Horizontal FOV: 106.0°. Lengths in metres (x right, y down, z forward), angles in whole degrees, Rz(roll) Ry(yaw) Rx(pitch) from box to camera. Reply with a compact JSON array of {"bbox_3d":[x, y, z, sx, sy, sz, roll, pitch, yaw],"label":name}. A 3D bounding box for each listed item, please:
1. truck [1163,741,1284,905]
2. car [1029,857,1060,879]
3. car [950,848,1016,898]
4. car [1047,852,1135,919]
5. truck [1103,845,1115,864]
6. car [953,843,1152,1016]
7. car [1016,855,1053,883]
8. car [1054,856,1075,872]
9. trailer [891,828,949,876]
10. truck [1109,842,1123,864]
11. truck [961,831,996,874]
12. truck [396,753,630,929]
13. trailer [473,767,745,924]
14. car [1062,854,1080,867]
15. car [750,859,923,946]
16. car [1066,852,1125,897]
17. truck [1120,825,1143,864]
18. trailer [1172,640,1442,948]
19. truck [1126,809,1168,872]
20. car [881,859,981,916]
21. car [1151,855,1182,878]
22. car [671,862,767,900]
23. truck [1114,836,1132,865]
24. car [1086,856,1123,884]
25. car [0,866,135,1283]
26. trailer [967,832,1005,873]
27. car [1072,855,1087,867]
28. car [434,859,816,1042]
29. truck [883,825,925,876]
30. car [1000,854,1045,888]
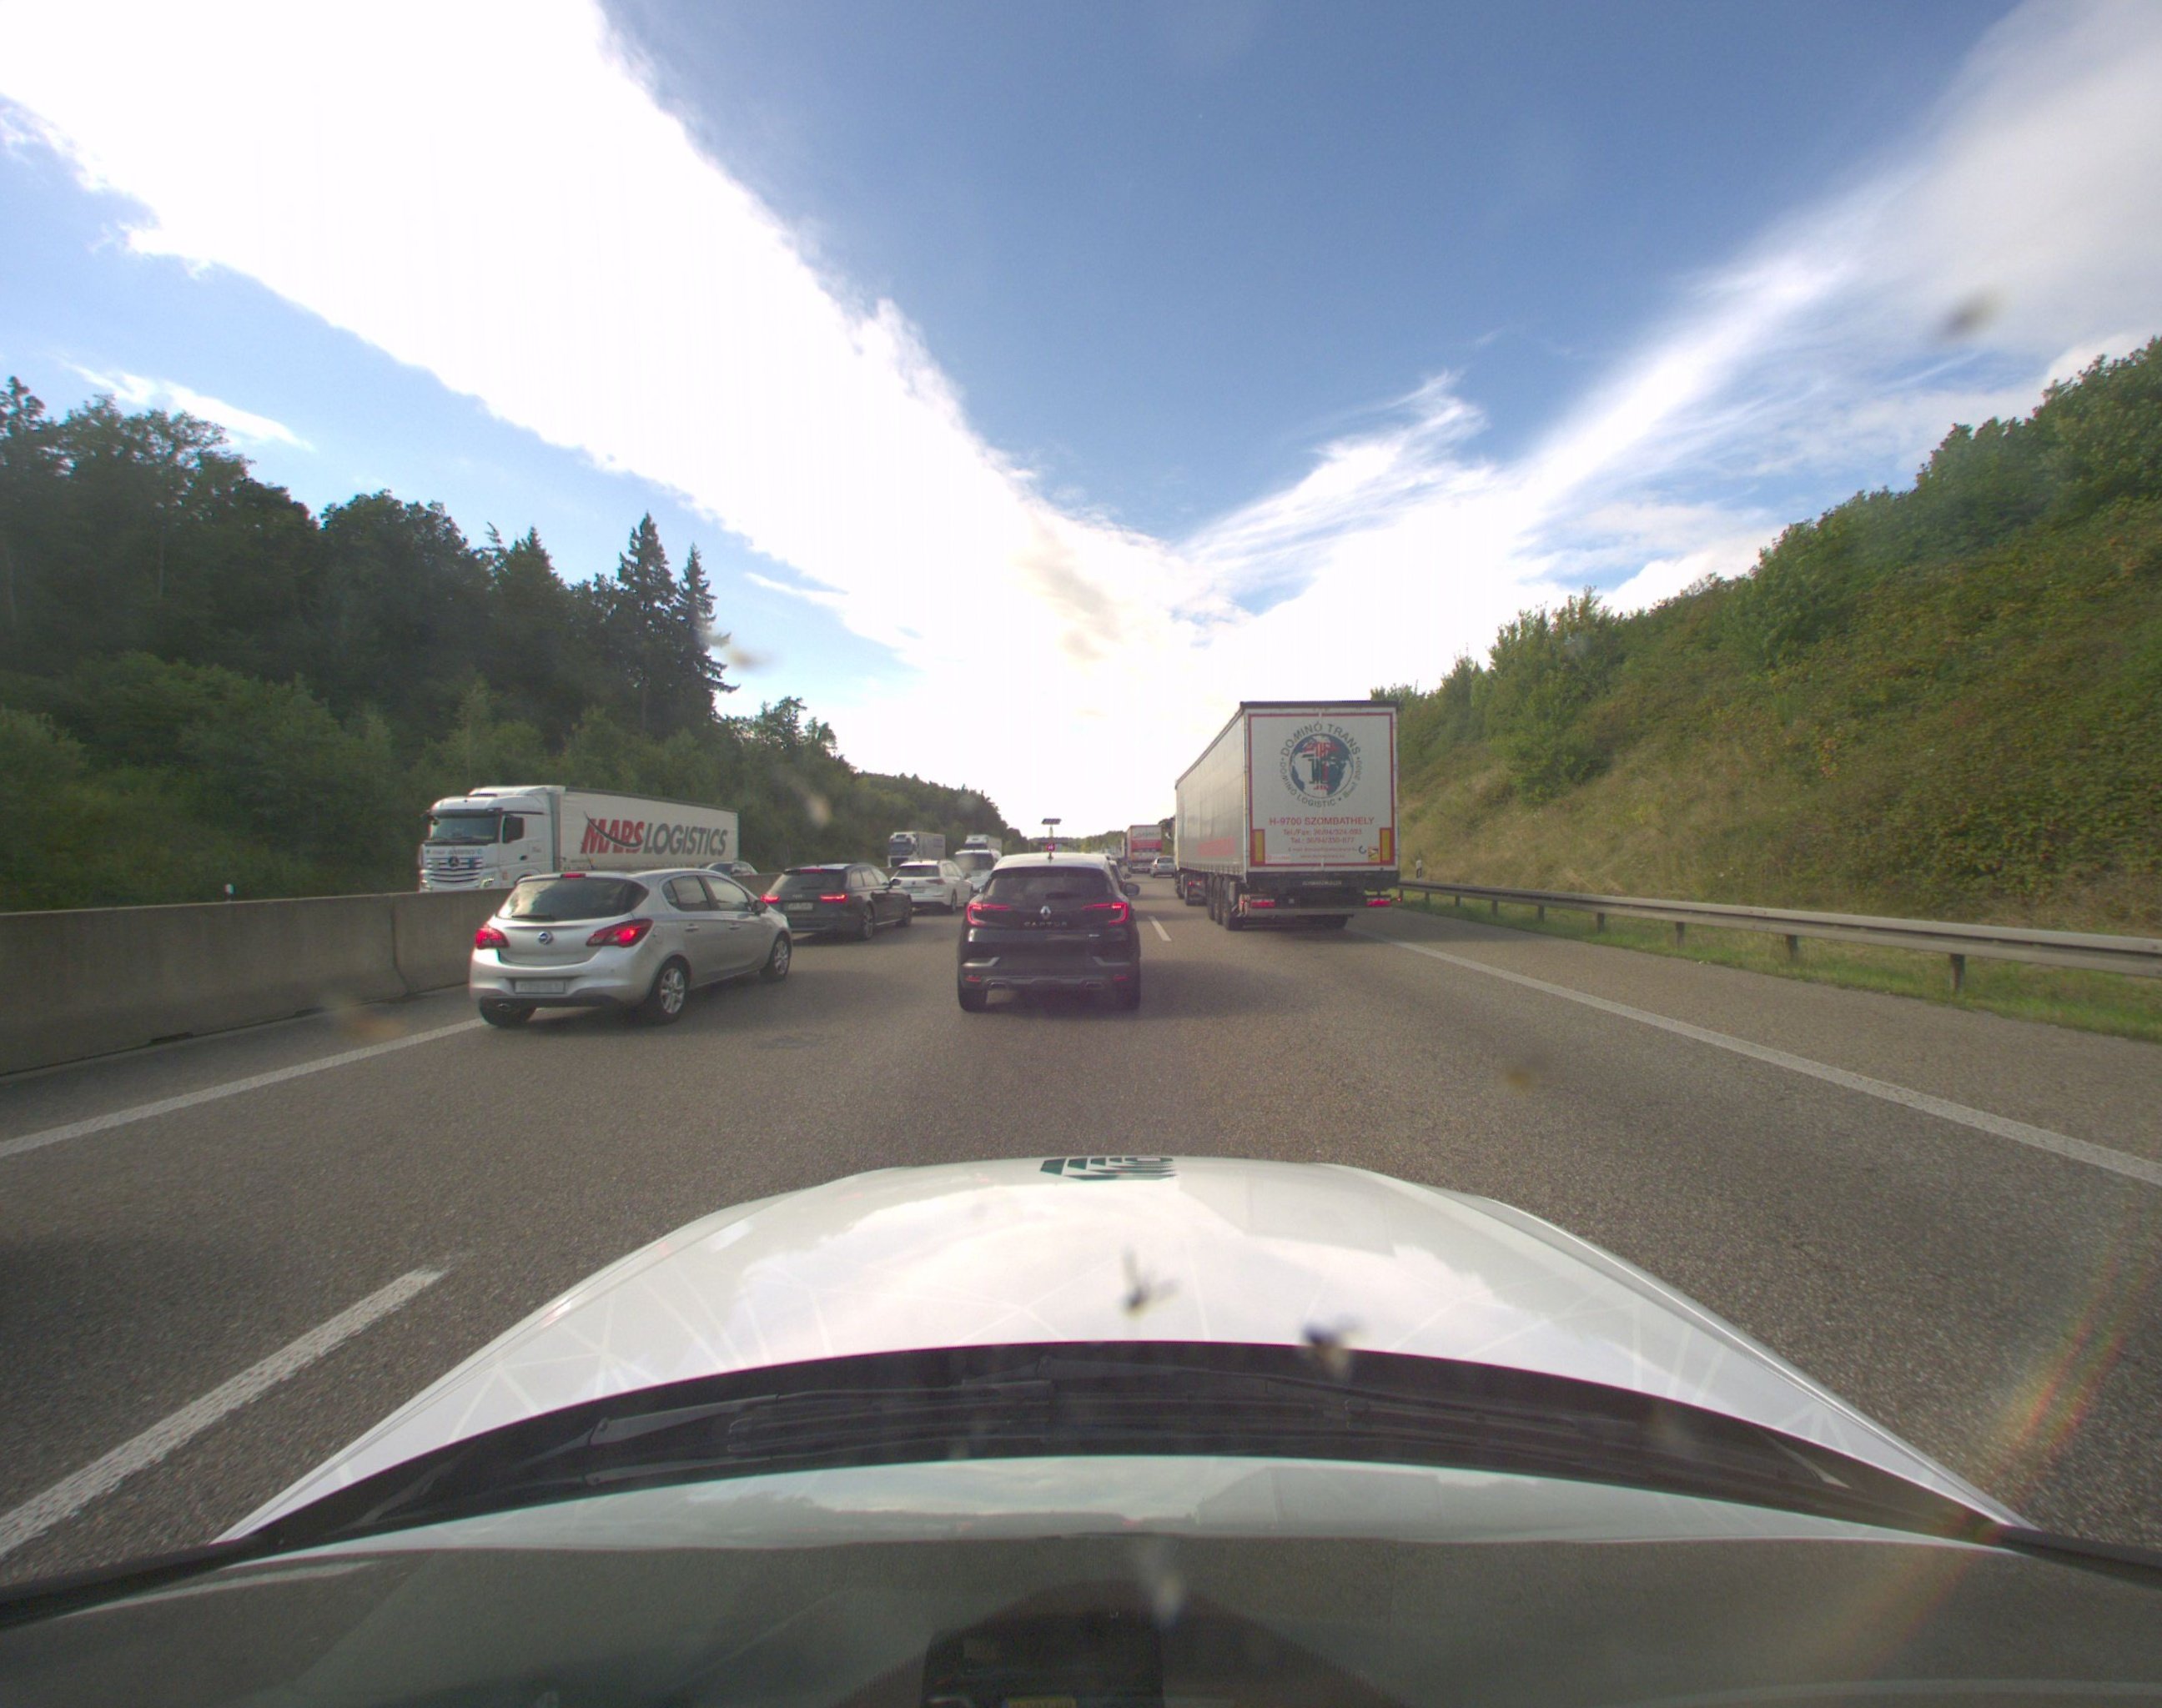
[{"bbox_3d":[4.397,-0.893,26.357,2.986,4.667,5.941,-1,0,2],"label":"truck"},{"bbox_3d":[-2.702,1.040,60.884,1.985,1.613,4.002,0,-1,2],"label":"car"},{"bbox_3d":[-3.671,0.707,31.325,1.905,1.789,4.418,0,-1,1],"label":"car"},{"bbox_3d":[0.316,0.749,20.591,1.985,1.514,4.002,0,-1,2],"label":"car"},{"bbox_3d":[8.379,0.270,241.566,3.153,5.505,12.746,0,-1,3],"label":"truck"},{"bbox_3d":[-0.106,0.704,9.405,1.796,1.552,4.005,-1,0,4],"label":"car"},{"bbox_3d":[-2.935,0.951,52.086,1.985,1.722,4.002,0,-1,2],"label":"car"},{"bbox_3d":[-1.693,0.995,84.583,1.985,1.613,4.003,-1,0,2],"label":"car"},{"bbox_3d":[-17.217,-0.125,88.539,2.916,4.830,14.659,0,-1,2],"label":"trailer"},{"bbox_3d":[8.527,-0.214,195.042,3.153,5.159,12.746,0,-1,3],"label":"truck"},{"bbox_3d":[-12.541,-0.160,100.300,3.076,5.101,7.144,0,-1,2],"label":"truck"},{"bbox_3d":[-19.006,-0.358,27.958,3.028,5.253,6.885,0,-1,2],"label":"truck"},{"bbox_3d":[-18.789,-0.230,34.414,3.030,5.281,13.840,0,-1,2],"label":"trailer"},{"bbox_3d":[-1.208,0.852,102.854,1.985,1.613,4.003,-1,0,2],"label":"car"},{"bbox_3d":[-4.666,0.858,16.373,1.835,1.456,4.750,0,0,2],"label":"car"},{"bbox_3d":[0.575,0.708,29.465,1.985,1.514,4.002,0,-1,2],"label":"car"},{"bbox_3d":[7.462,-1.229,121.853,3.153,5.505,12.746,0,-1,3],"label":"truck"},{"bbox_3d":[4.172,-0.906,19.059,2.991,4.661,13.295,-1,0,2],"label":"trailer"},{"bbox_3d":[5.648,-1.031,71.951,3.351,5.044,12.746,0,-1,3],"label":"truck"},{"bbox_3d":[-4.143,0.883,23.153,1.797,1.461,4.312,-1,-1,3],"label":"car"},{"bbox_3d":[5.800,0.852,55.596,1.798,1.533,3.926,0,-1,1],"label":"car"},{"bbox_3d":[-14.989,1.096,34.008,1.947,1.428,4.325,0,0,2],"label":"car"},{"bbox_3d":[8.345,-0.616,160.300,3.152,5.505,12.751,0,-1,4],"label":"truck"},{"bbox_3d":[1.344,0.870,45.611,1.985,1.514,4.002,0,-1,2],"label":"car"},{"bbox_3d":[-4.881,0.789,0.890,1.874,1.471,4.856,0,0,3],"label":"car"},{"bbox_3d":[-12.343,-0.080,107.305,3.077,5.074,13.838,0,-1,1],"label":"trailer"},{"bbox_3d":[-0.242,0.975,117.562,1.985,1.613,4.003,-1,0,2],"label":"car"},{"bbox_3d":[-4.493,0.821,8.865,1.740,1.465,4.043,-1,0,2],"label":"car"},{"bbox_3d":[-17.506,-0.310,80.737,2.921,4.859,4.767,0,-1,2],"label":"truck"},{"bbox_3d":[-2.992,0.869,42.201,1.848,1.641,3.928,0,-1,3],"label":"car"}]
